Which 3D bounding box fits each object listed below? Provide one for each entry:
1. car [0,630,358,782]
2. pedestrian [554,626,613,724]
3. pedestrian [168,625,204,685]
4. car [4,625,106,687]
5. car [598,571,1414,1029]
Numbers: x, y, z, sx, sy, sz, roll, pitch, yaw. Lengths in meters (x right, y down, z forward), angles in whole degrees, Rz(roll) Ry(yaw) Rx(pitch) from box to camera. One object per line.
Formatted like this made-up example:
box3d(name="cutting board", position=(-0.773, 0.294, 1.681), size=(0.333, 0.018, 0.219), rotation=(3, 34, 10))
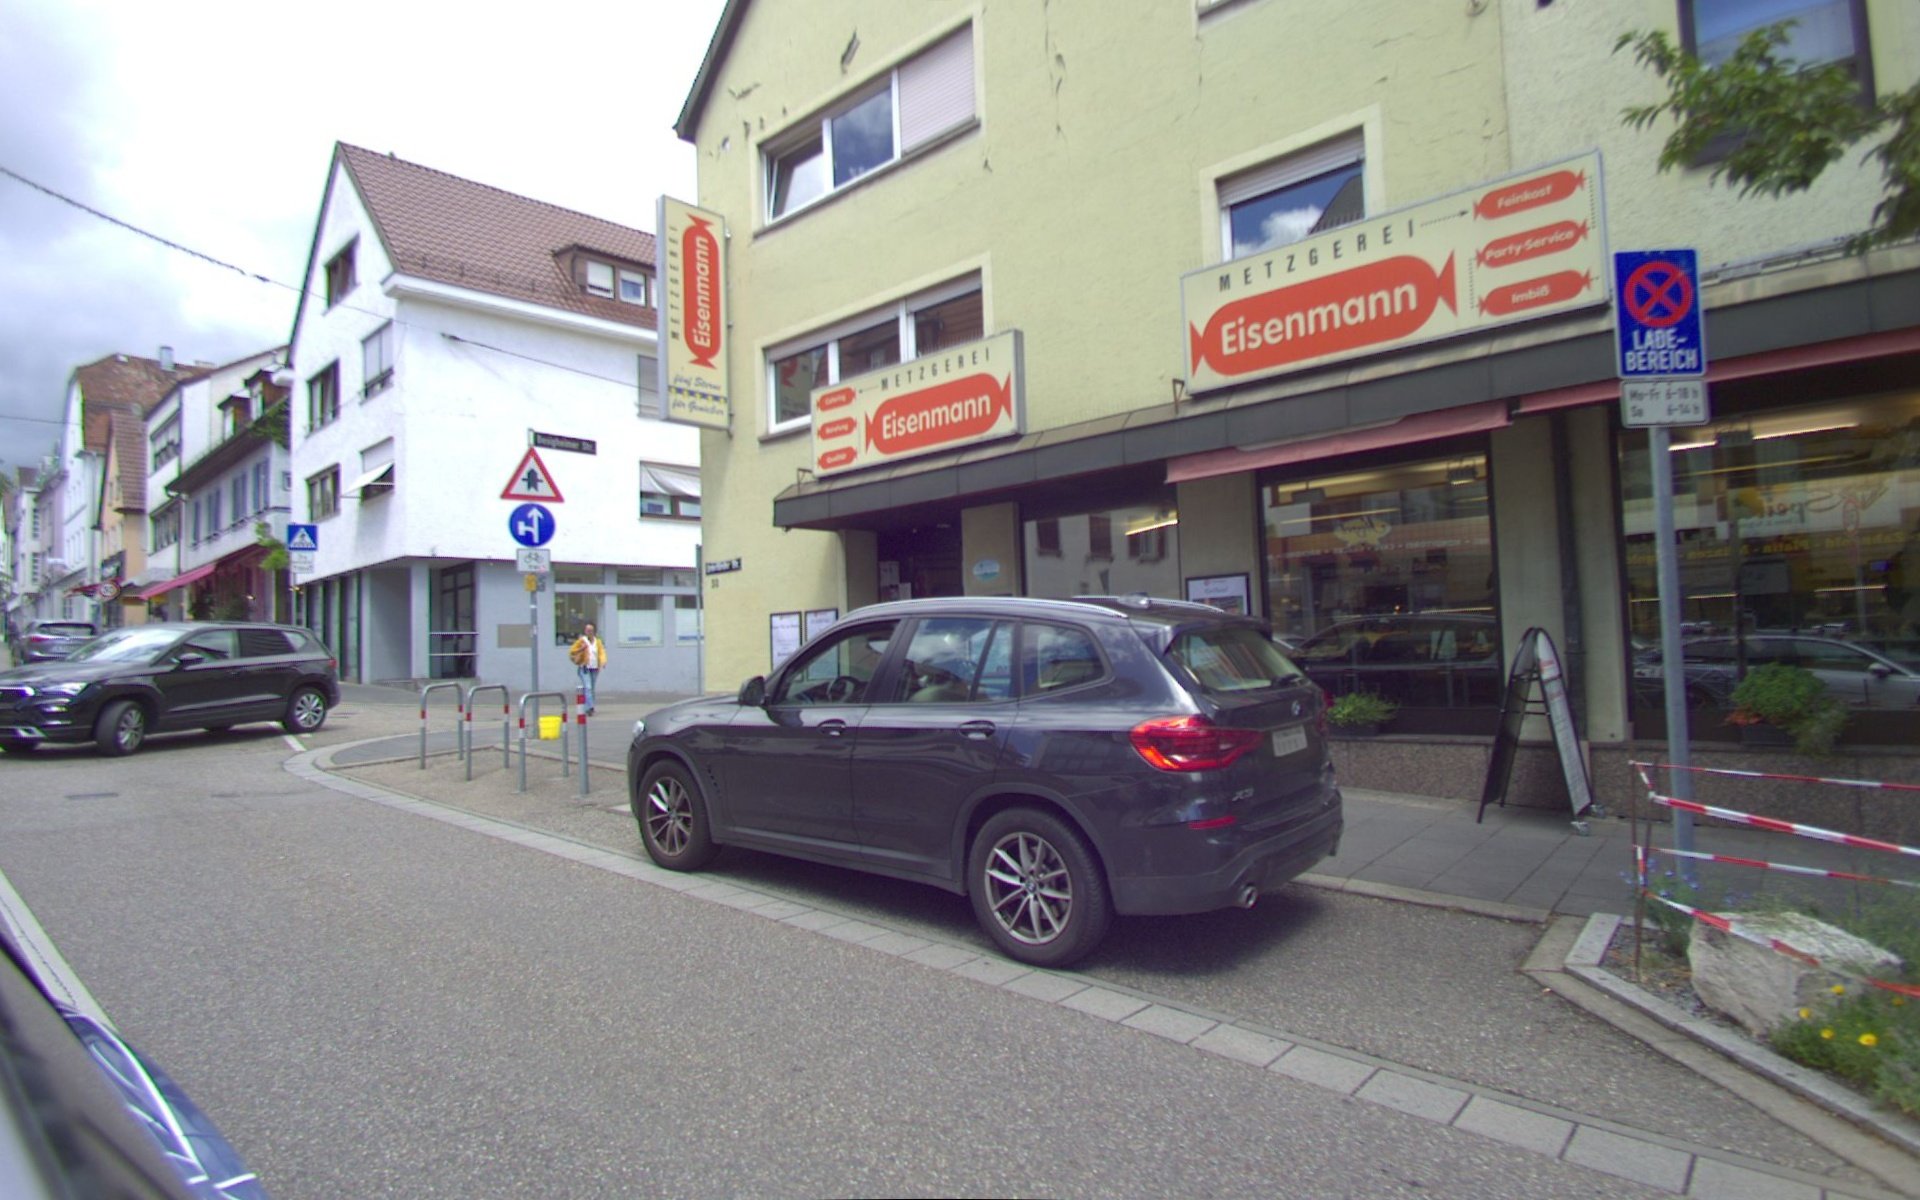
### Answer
box3d(name="car", position=(-10.468, 1.232, 13.360), size=(1.896, 1.581, 4.354), rotation=(-1, -1, 13))
box3d(name="pedestrian", position=(-6.920, 1.365, 18.621), size=(0.835, 1.752, 0.630), rotation=(-1, -3, 38))
box3d(name="pedestrian", position=(-23.105, 1.621, 30.213), size=(0.825, 1.753, 0.686), rotation=(-2, -3, 43))
box3d(name="car", position=(-26.232, 1.561, 29.287), size=(4.357, 1.633, 1.941), rotation=(-2, -1, 45))
box3d(name="car", position=(-0.029, 0.805, 6.044), size=(4.604, 1.706, 1.986), rotation=(-2, -1, 40))
